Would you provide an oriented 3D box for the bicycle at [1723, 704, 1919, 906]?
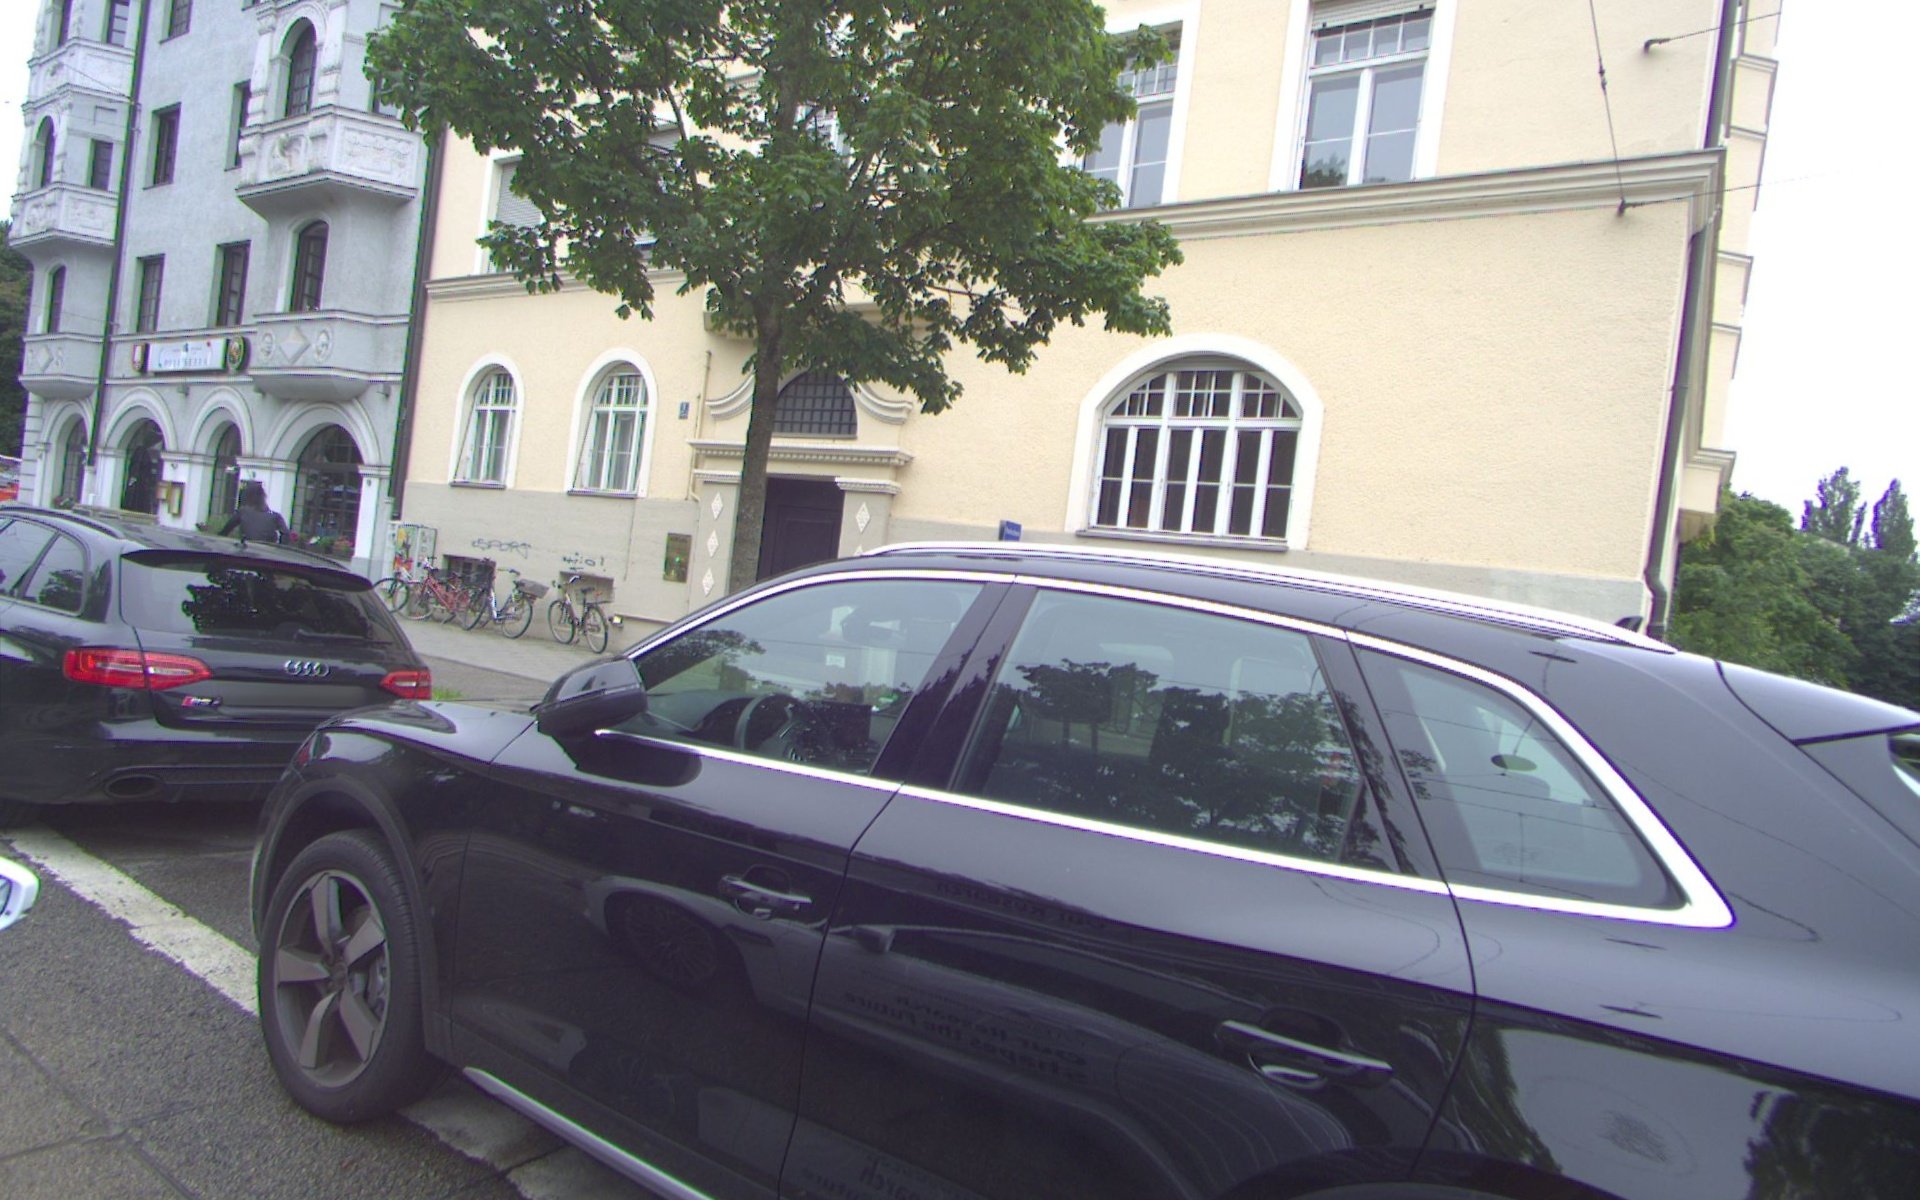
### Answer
[{"bbox_3d":[6.918,1.577,7.741,1.511,1.327,0.332,7,-1,30],"label":"bicycle"}]

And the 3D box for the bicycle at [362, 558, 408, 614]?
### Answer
[{"bbox_3d":[-10.592,-0.261,18.528,0.871,0.941,0.259,7,-1,33],"label":"bicycle"}]

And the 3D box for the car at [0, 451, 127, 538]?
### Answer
[{"bbox_3d":[-36.540,-4.247,39.462,2.192,2.642,5.311,7,-2,29],"label":"car"}]

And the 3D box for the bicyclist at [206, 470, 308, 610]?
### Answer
[{"bbox_3d":[-9.554,-0.808,13.679,0.714,1.749,0.726,7,-1,31],"label":"bicyclist"}]

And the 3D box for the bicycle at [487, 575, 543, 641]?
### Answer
[{"bbox_3d":[-7.178,0.125,16.220,0.871,0.941,0.285,7,-1,33],"label":"bicycle"}]

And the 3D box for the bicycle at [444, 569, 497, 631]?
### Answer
[{"bbox_3d":[-8.256,-0.009,16.963,0.871,0.941,0.273,7,-1,33],"label":"bicycle"}]

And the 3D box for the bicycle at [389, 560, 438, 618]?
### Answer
[{"bbox_3d":[-9.810,-0.197,18.044,0.871,0.941,0.291,7,-1,33],"label":"bicycle"}]

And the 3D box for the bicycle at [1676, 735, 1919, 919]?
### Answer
[{"bbox_3d":[6.555,1.740,7.871,1.417,1.119,0.287,7,0,24],"label":"bicycle"}]

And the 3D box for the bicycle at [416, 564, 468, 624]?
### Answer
[{"bbox_3d":[-9.028,-0.112,17.517,0.871,0.941,0.306,7,-1,34],"label":"bicycle"}]

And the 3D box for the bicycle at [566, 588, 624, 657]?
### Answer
[{"bbox_3d":[-5.539,0.334,15.257,0.871,0.941,0.222,7,-1,31],"label":"bicycle"}]

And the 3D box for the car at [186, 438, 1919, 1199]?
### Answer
[{"bbox_3d":[0.139,0.660,2.538,4.414,1.677,1.777,7,-2,32],"label":"car"}]

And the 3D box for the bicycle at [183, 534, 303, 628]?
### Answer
[{"bbox_3d":[-9.840,-0.270,13.793,1.880,1.093,0.579,7,2,31],"label":"bicycle"}]

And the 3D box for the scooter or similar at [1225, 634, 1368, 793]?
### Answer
[{"bbox_3d":[3.213,1.067,9.628,1.122,1.328,0.262,7,-1,25],"label":"scooter or similar"}]

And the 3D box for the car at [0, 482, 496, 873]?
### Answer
[{"bbox_3d":[-4.874,0.170,5.695,4.525,1.442,1.720,7,-2,31],"label":"car"}]

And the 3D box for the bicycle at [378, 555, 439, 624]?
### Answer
[{"bbox_3d":[-9.538,-0.188,17.375,1.203,1.051,0.242,7,-1,32],"label":"bicycle"}]

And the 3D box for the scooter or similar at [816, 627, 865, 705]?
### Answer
[{"bbox_3d":[-1.511,0.834,12.727,0.413,0.921,0.348,7,-1,11],"label":"scooter or similar"}]
